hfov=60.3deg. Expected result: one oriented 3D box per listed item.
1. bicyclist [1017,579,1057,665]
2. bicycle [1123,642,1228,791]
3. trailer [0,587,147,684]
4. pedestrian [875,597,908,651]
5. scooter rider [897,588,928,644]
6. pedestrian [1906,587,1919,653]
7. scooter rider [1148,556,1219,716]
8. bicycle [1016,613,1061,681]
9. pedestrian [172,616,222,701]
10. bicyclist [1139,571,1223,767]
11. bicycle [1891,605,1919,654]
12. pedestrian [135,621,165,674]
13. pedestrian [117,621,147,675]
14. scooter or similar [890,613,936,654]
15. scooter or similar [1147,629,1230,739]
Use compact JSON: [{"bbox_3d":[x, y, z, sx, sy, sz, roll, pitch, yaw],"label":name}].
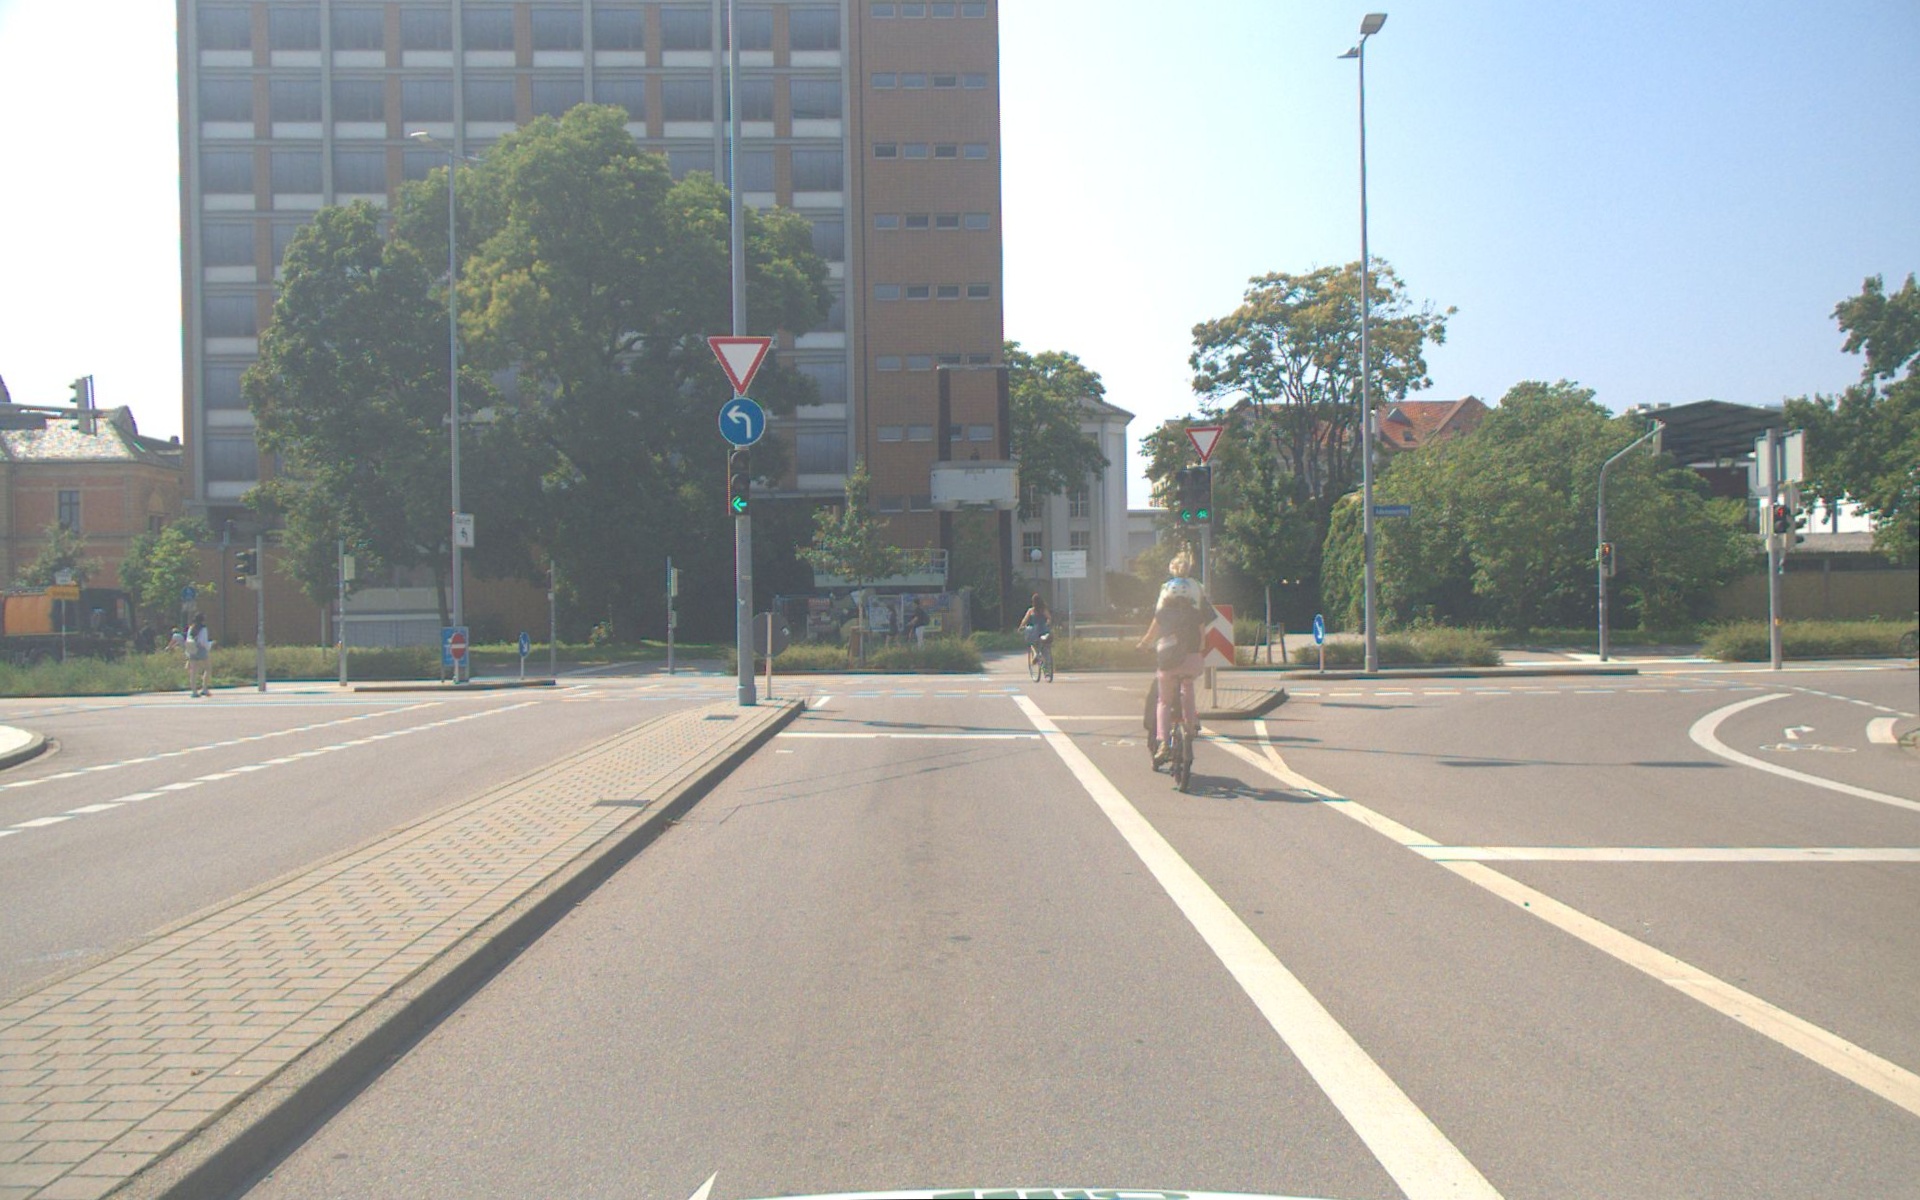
[{"bbox_3d":[1.507,0.423,32.508,0.676,1.626,0.844,-2,1,-1],"label":"bicyclist"},{"bbox_3d":[1.750,0.922,13.685,0.545,1.078,2.003,0,0,-2],"label":"bicycle"},{"bbox_3d":[-29.998,1.197,54.270,6.176,3.061,2.470,-1,-2,22],"label":"trailer"},{"bbox_3d":[-2.254,0.779,54.731,0.857,1.734,0.708,-1,1,16],"label":"pedestrian"},{"bbox_3d":[-1.505,0.502,52.236,0.785,1.770,0.689,-1,0,16],"label":"scooter rider"},{"bbox_3d":[25.070,0.520,42.981,0.535,1.698,0.781,-1,0,3],"label":"pedestrian"},{"bbox_3d":[2.470,0.390,18.339,0.657,1.729,0.539,-1,0,-2],"label":"scooter rider"},{"bbox_3d":[1.524,0.894,32.387,0.679,1.175,2.371,-2,1,-1],"label":"bicycle"},{"bbox_3d":[-15.719,1.204,34.082,0.593,1.724,0.701,-1,0,16],"label":"pedestrian"},{"bbox_3d":[1.759,0.533,13.257,0.537,1.522,0.803,0,0,-2],"label":"bicyclist"},{"bbox_3d":[25.302,0.750,42.970,1.746,1.234,0.787,-1,0,3],"label":"bicycle"},{"bbox_3d":[-30.654,1.790,62.610,0.740,2.007,0.776,-2,-1,41],"label":"pedestrian"},{"bbox_3d":[-30.862,1.786,61.630,0.740,2.007,0.776,-2,-1,41],"label":"pedestrian"},{"bbox_3d":[-1.488,1.049,52.306,1.334,1.256,0.586,-1,0,16],"label":"scooter or similar"},{"bbox_3d":[2.487,0.891,18.174,0.545,1.078,2.003,-1,0,-2],"label":"scooter or similar"}]
